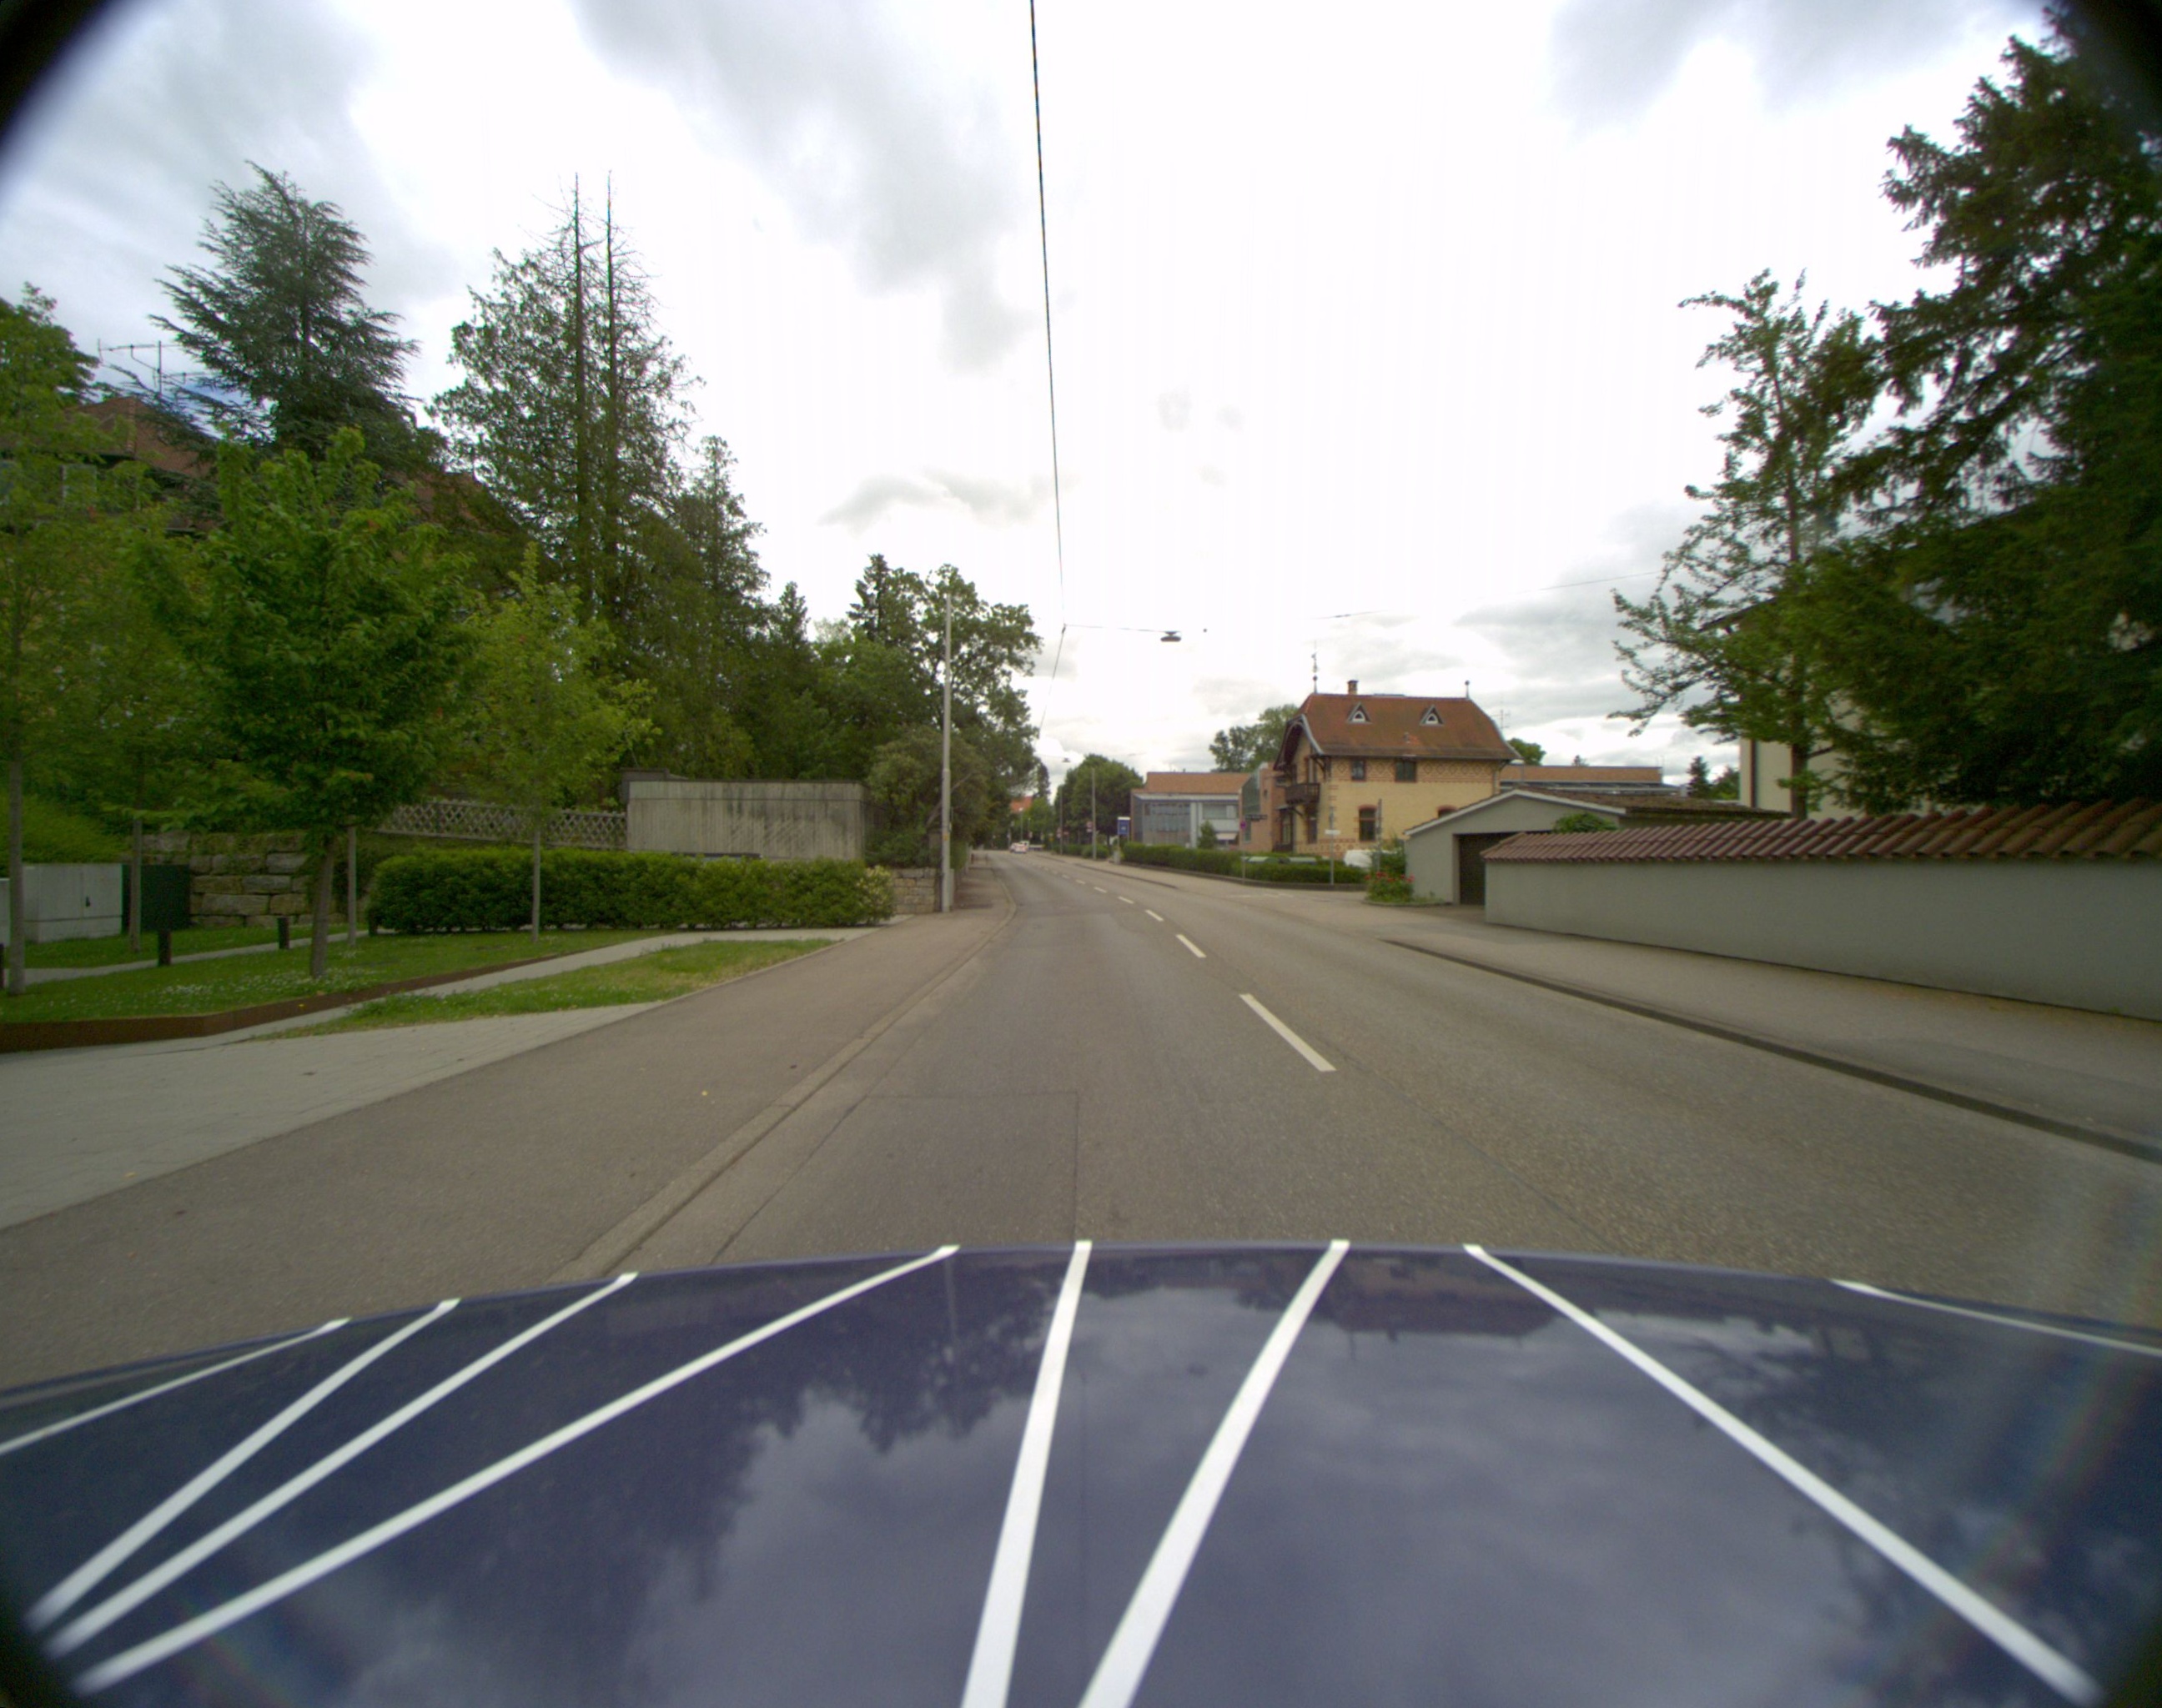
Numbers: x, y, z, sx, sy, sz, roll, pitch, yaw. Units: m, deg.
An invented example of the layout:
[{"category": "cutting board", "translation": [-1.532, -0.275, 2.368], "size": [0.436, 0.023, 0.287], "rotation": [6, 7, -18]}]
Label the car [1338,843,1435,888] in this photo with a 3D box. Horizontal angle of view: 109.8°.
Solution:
[{"category": "car", "translation": [14.878, 0.504, 37.326], "size": [1.896, 2.058, 4.608], "rotation": [-1, 1, -18]}]

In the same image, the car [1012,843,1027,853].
[{"category": "car", "translation": [-10.808, -1.149, 133.157], "size": [2.001, 1.702, 3.995], "rotation": [-1, 1, -12]}]

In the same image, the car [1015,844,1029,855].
[{"category": "car", "translation": [-9.821, -0.760, 126.236], "size": [2.000, 1.702, 3.996], "rotation": [-1, 1, -7]}]
